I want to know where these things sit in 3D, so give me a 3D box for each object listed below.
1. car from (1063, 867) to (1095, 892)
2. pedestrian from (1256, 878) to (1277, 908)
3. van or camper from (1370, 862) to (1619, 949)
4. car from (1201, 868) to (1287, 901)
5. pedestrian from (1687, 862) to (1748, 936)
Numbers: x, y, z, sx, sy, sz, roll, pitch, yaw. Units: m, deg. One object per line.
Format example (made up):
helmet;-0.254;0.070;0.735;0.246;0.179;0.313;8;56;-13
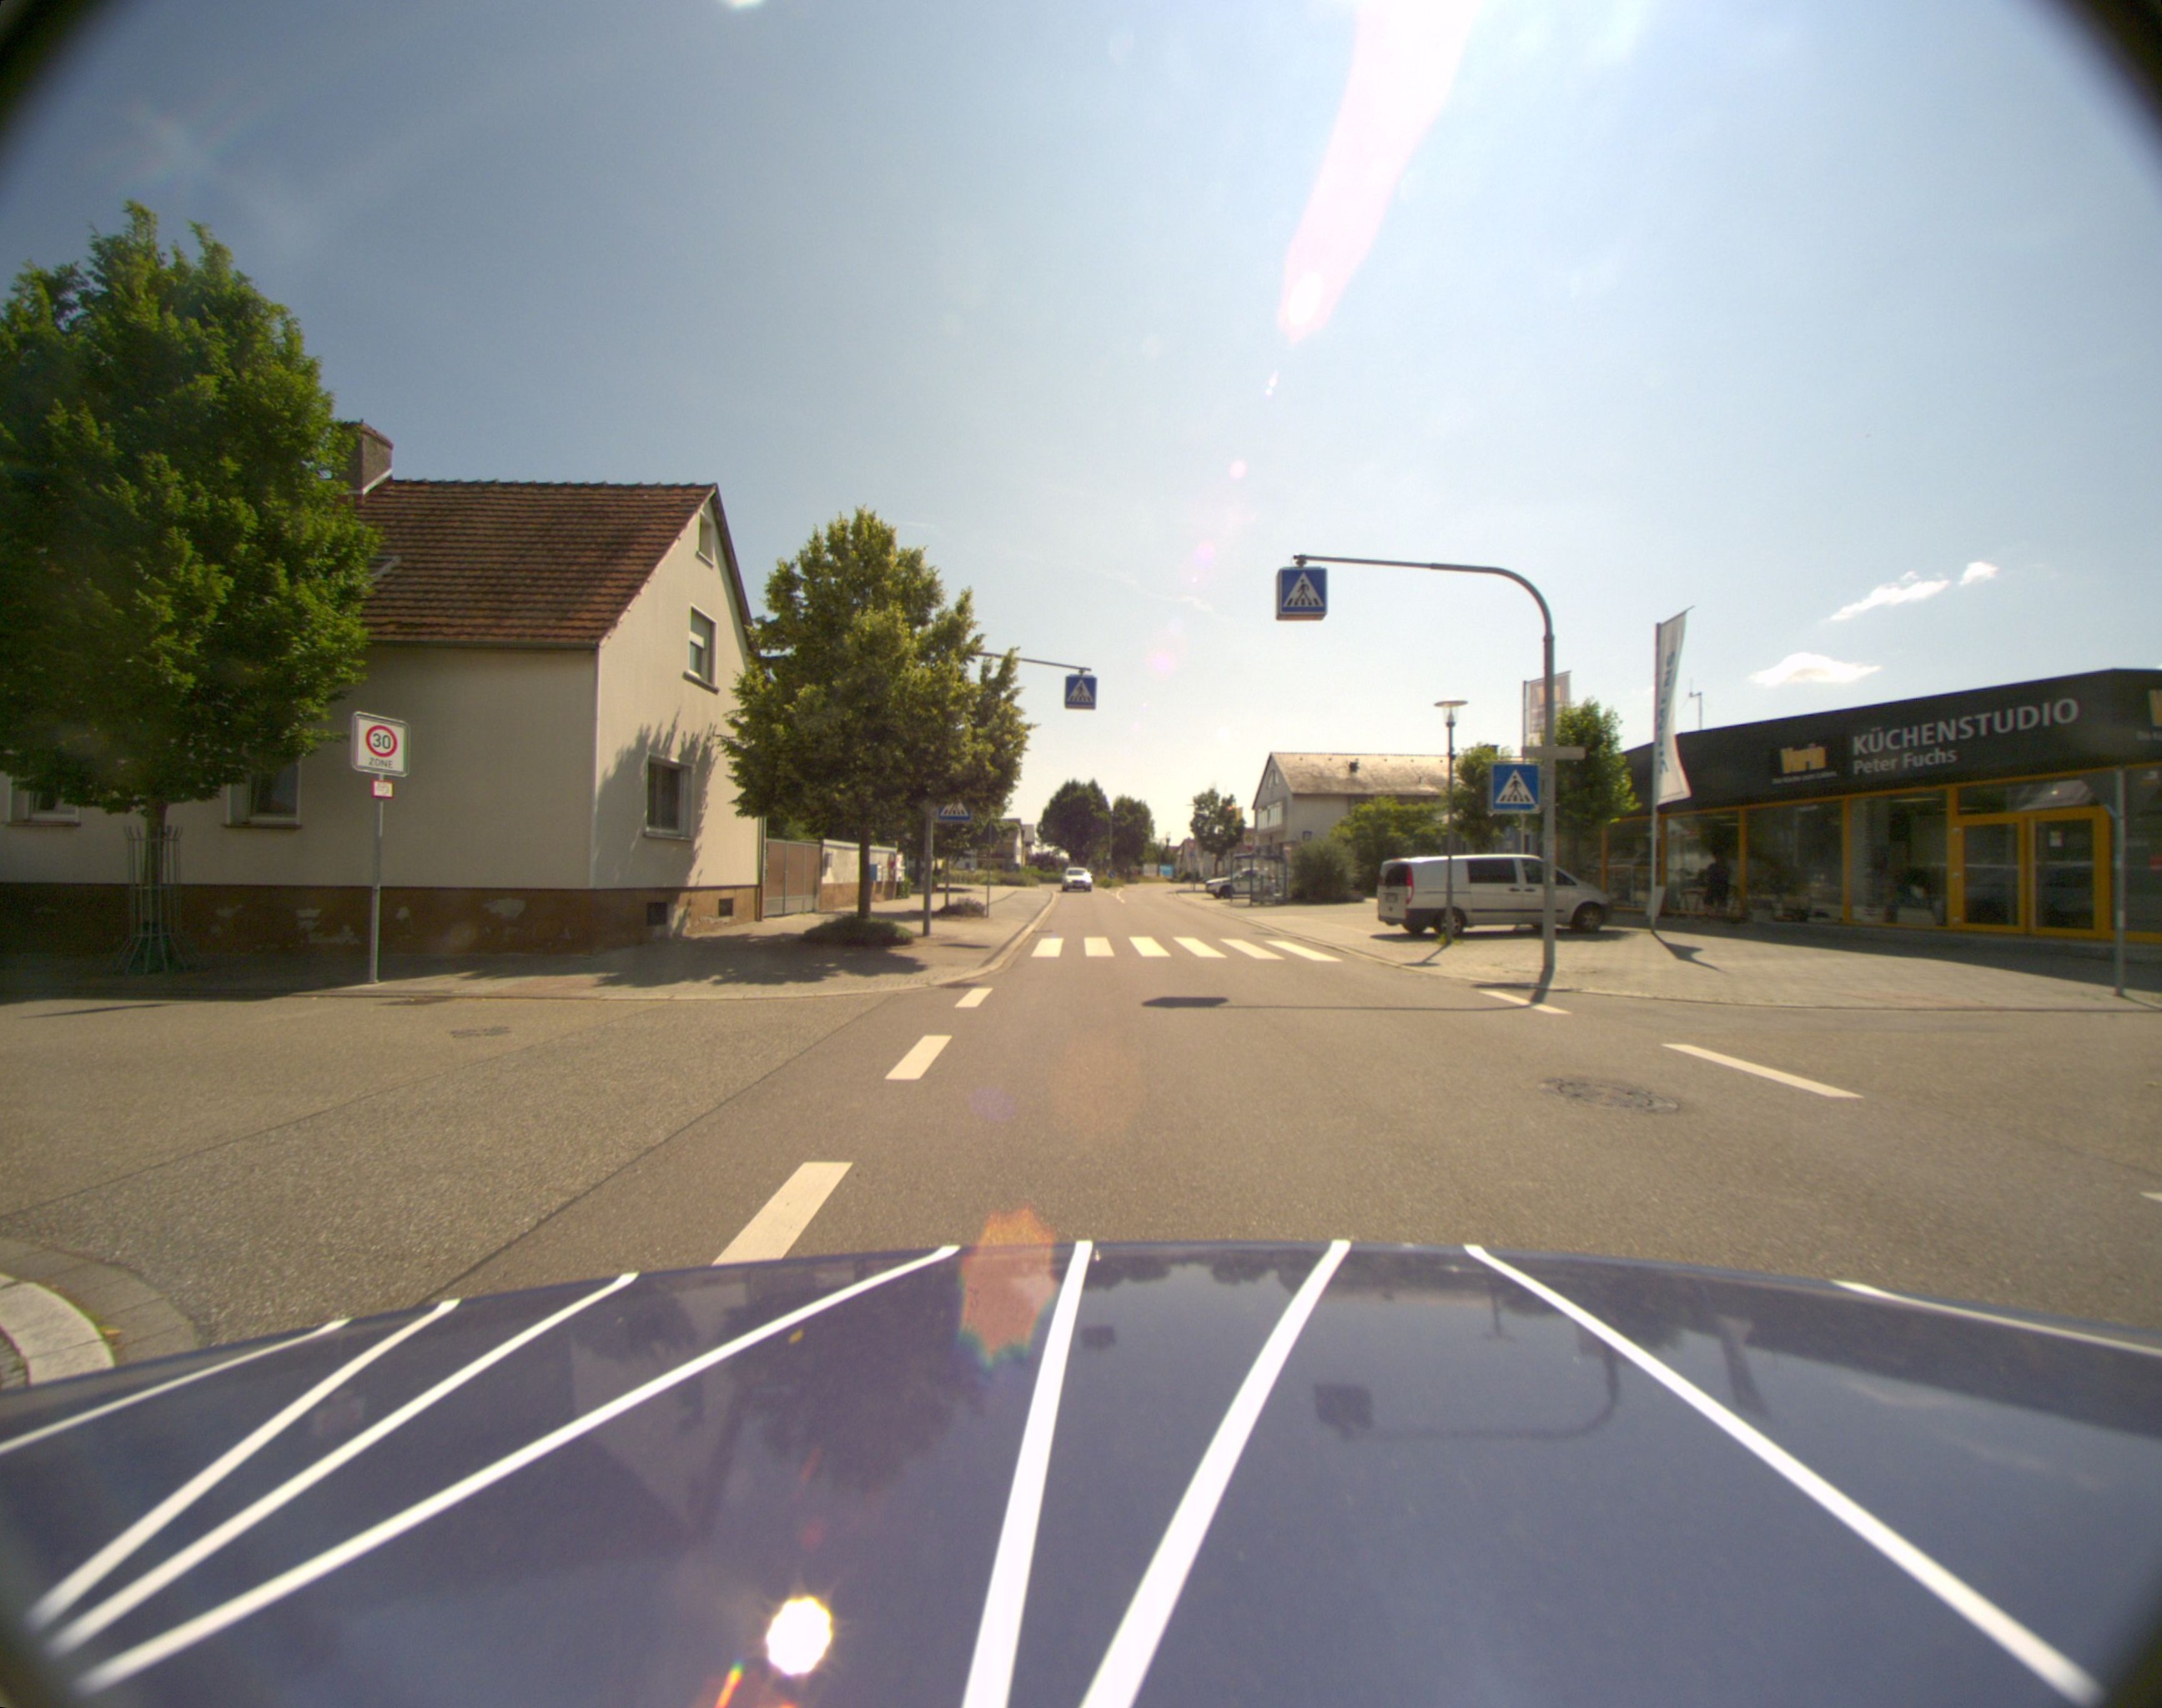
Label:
car;-0.187;1.677;51.643;1.858;1.603;4.134;-1;-1;-4
pedestrian;8.398;1.750;34.384;0.787;1.350;0.607;0;-1;0
van or camper;9.601;1.186;17.948;4.752;1.851;2.000;-1;-1;-1
car;9.043;1.687;42.299;4.251;1.709;1.945;-1;-1;-5
pedestrian;15.725;1.077;18.766;1.072;1.764;0.932;1;-1;-37
